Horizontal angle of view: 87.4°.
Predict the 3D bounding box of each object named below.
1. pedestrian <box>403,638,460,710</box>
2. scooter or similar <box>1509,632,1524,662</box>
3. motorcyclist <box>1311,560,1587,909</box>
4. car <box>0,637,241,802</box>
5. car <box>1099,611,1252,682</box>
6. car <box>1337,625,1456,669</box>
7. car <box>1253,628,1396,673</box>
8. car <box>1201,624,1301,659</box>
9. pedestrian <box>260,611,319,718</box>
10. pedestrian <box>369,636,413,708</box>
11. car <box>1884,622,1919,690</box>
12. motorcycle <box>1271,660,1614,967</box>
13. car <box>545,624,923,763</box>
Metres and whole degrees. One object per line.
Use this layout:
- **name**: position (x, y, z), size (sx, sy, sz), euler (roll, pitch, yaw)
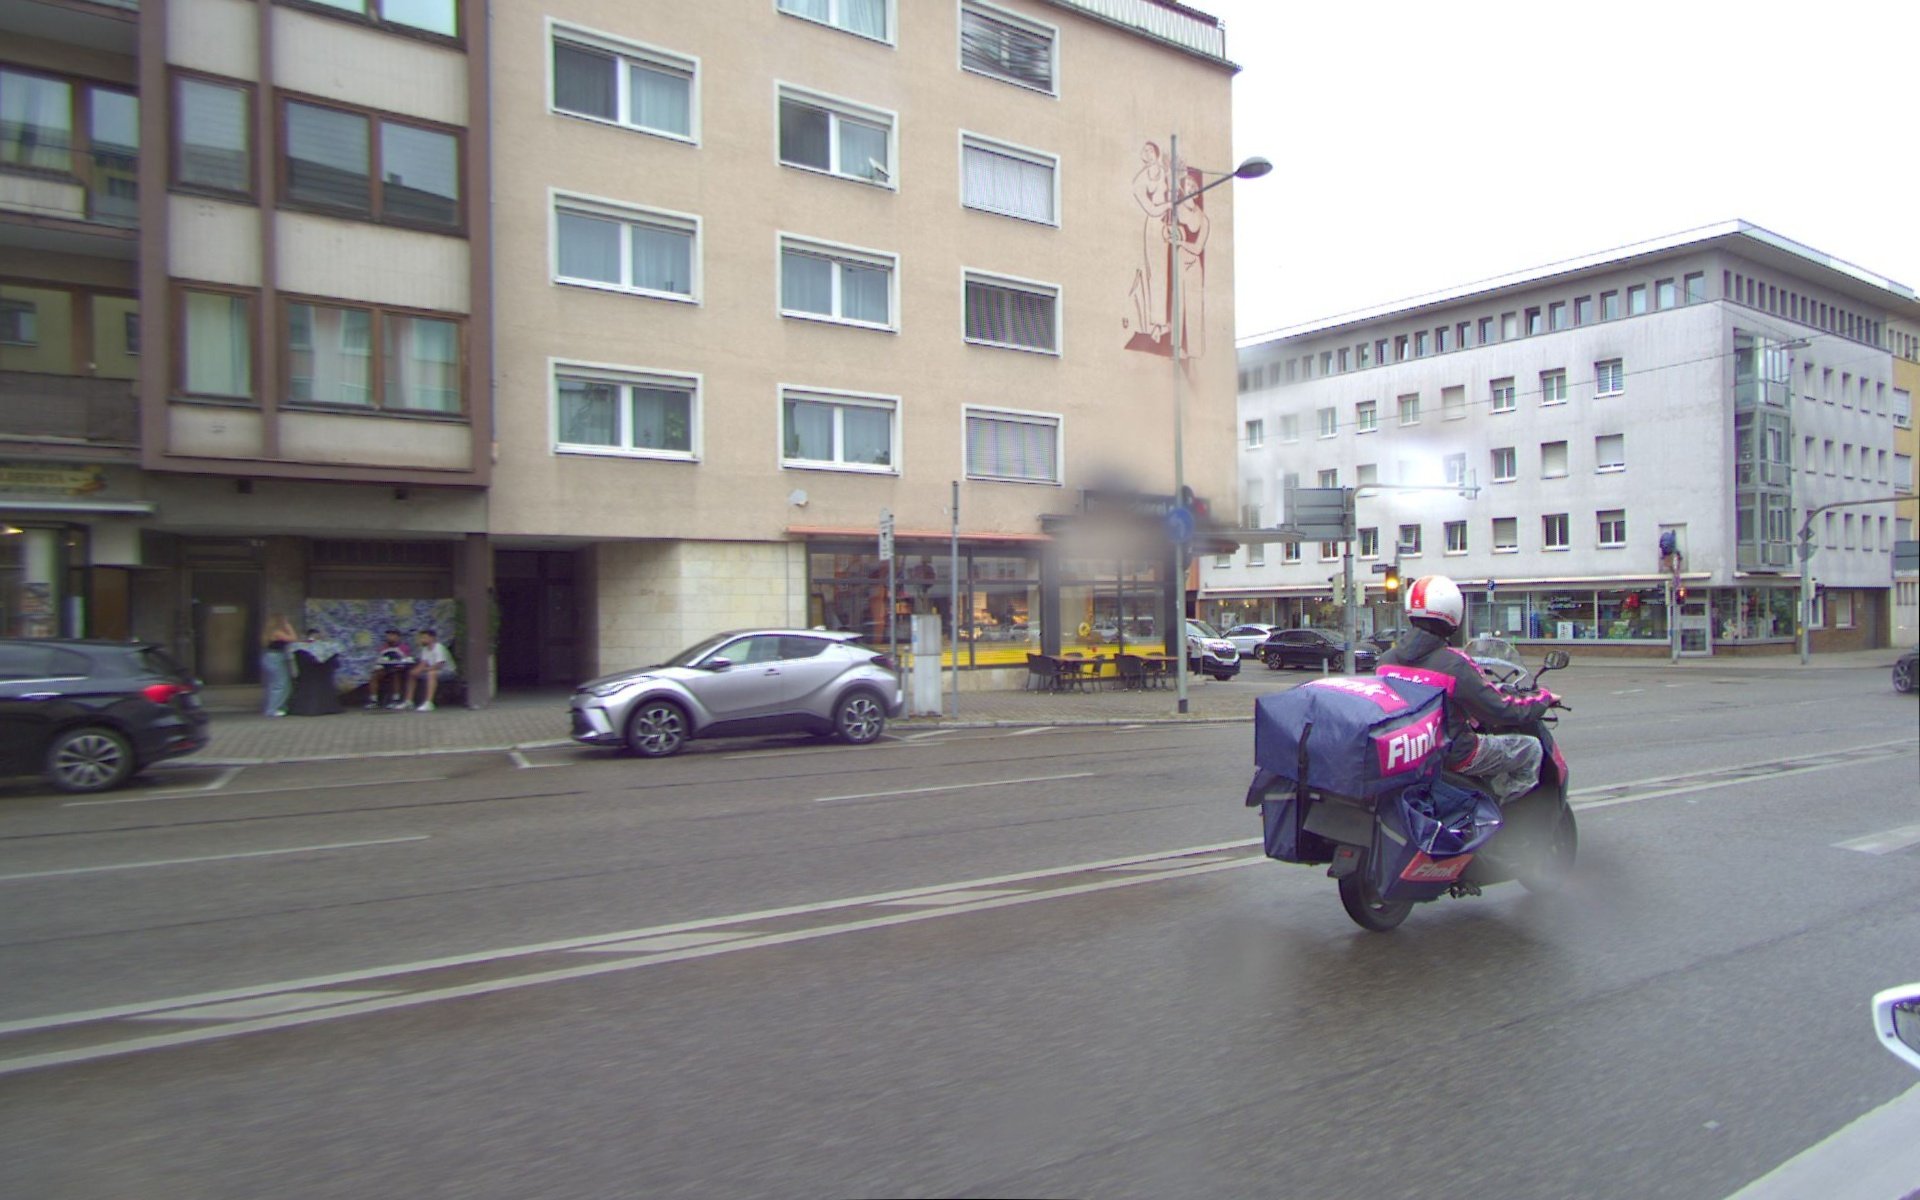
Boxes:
- **pedestrian**: position (-8.740, 1.211, 16.637), size (0.583, 1.163, 0.674), euler (0, -1, -2)
- **scooter or similar**: position (22.518, 1.894, 40.651), size (0.360, 1.109, 1.131), euler (-3, 0, 36)
- **motorcyclist**: position (2.403, 0.584, 4.972), size (0.856, 1.513, 0.909), euler (1, 1, -34)
- **car**: position (-9.820, 1.131, 9.756), size (4.469, 1.496, 1.983), euler (1, -2, -33)
- **car**: position (6.901, 1.505, 32.703), size (2.026, 2.130, 4.822), euler (3, -3, -34)
- **car**: position (17.124, 1.842, 39.548), size (3.947, 1.648, 1.687), euler (-3, -3, 45)
- **car**: position (12.661, 1.723, 35.101), size (2.028, 1.394, 4.293), euler (-1, 0, -38)
- **car**: position (14.148, 2.016, 49.040), size (2.031, 1.653, 4.286), euler (1, -2, -42)
- **pedestrian**: position (-10.276, 0.970, 15.405), size (0.665, 1.604, 0.537), euler (1, -1, -43)
- **pedestrian**: position (-9.479, 1.190, 16.756), size (0.624, 1.163, 0.605), euler (1, -1, -29)
- **car**: position (20.587, 1.137, 19.929), size (1.962, 1.406, 4.497), euler (0, -1, 24)
- **motorcycle**: position (2.479, 0.944, 5.039), size (2.081, 1.207, 0.583), euler (1, 0, -35)
- **car**: position (-2.951, 1.135, 13.317), size (4.572, 1.574, 1.901), euler (1, -3, -28)
